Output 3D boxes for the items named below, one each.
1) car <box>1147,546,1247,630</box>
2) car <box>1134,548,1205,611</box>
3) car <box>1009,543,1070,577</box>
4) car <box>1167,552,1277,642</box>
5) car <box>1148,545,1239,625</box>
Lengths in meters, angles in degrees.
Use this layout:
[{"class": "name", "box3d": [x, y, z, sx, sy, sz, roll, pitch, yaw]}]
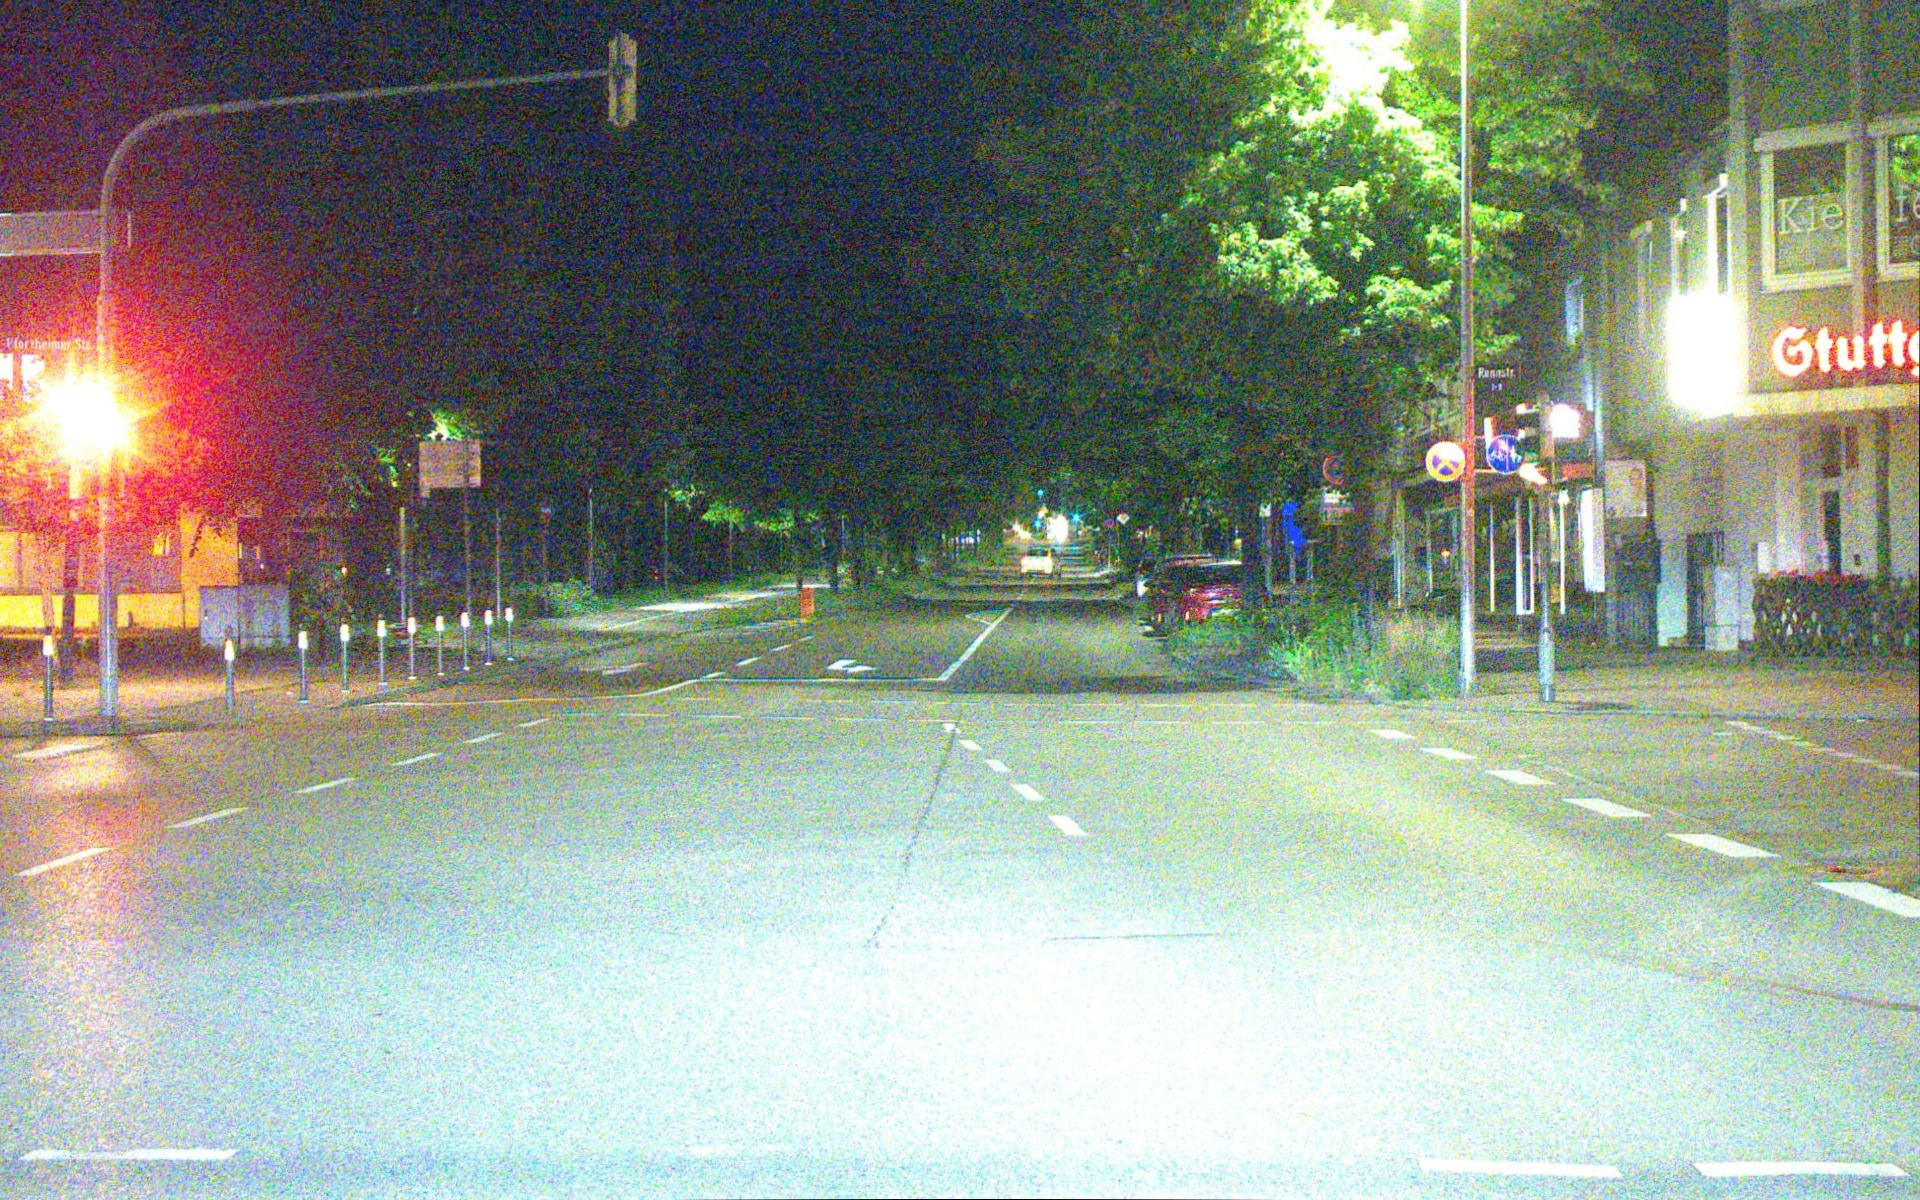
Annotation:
[{"class": "car", "box3d": [4.707, -0.259, 68.804, 1.876, 1.610, 4.000, 0, 1, 2]}, {"class": "car", "box3d": [5.739, -0.582, 94.557, 1.876, 1.678, 4.000, 0, 1, 2]}, {"class": "car", "box3d": [3.846, -1.925, 165.386, 2.228, 1.645, 3.998, 0, 1, 12]}, {"class": "car", "box3d": [4.829, -0.072, 63.788, 1.876, 1.610, 4.000, 0, 1, 2]}, {"class": "car", "box3d": [5.167, -0.339, 76.474, 1.876, 1.723, 4.000, 0, 1, 2]}]
